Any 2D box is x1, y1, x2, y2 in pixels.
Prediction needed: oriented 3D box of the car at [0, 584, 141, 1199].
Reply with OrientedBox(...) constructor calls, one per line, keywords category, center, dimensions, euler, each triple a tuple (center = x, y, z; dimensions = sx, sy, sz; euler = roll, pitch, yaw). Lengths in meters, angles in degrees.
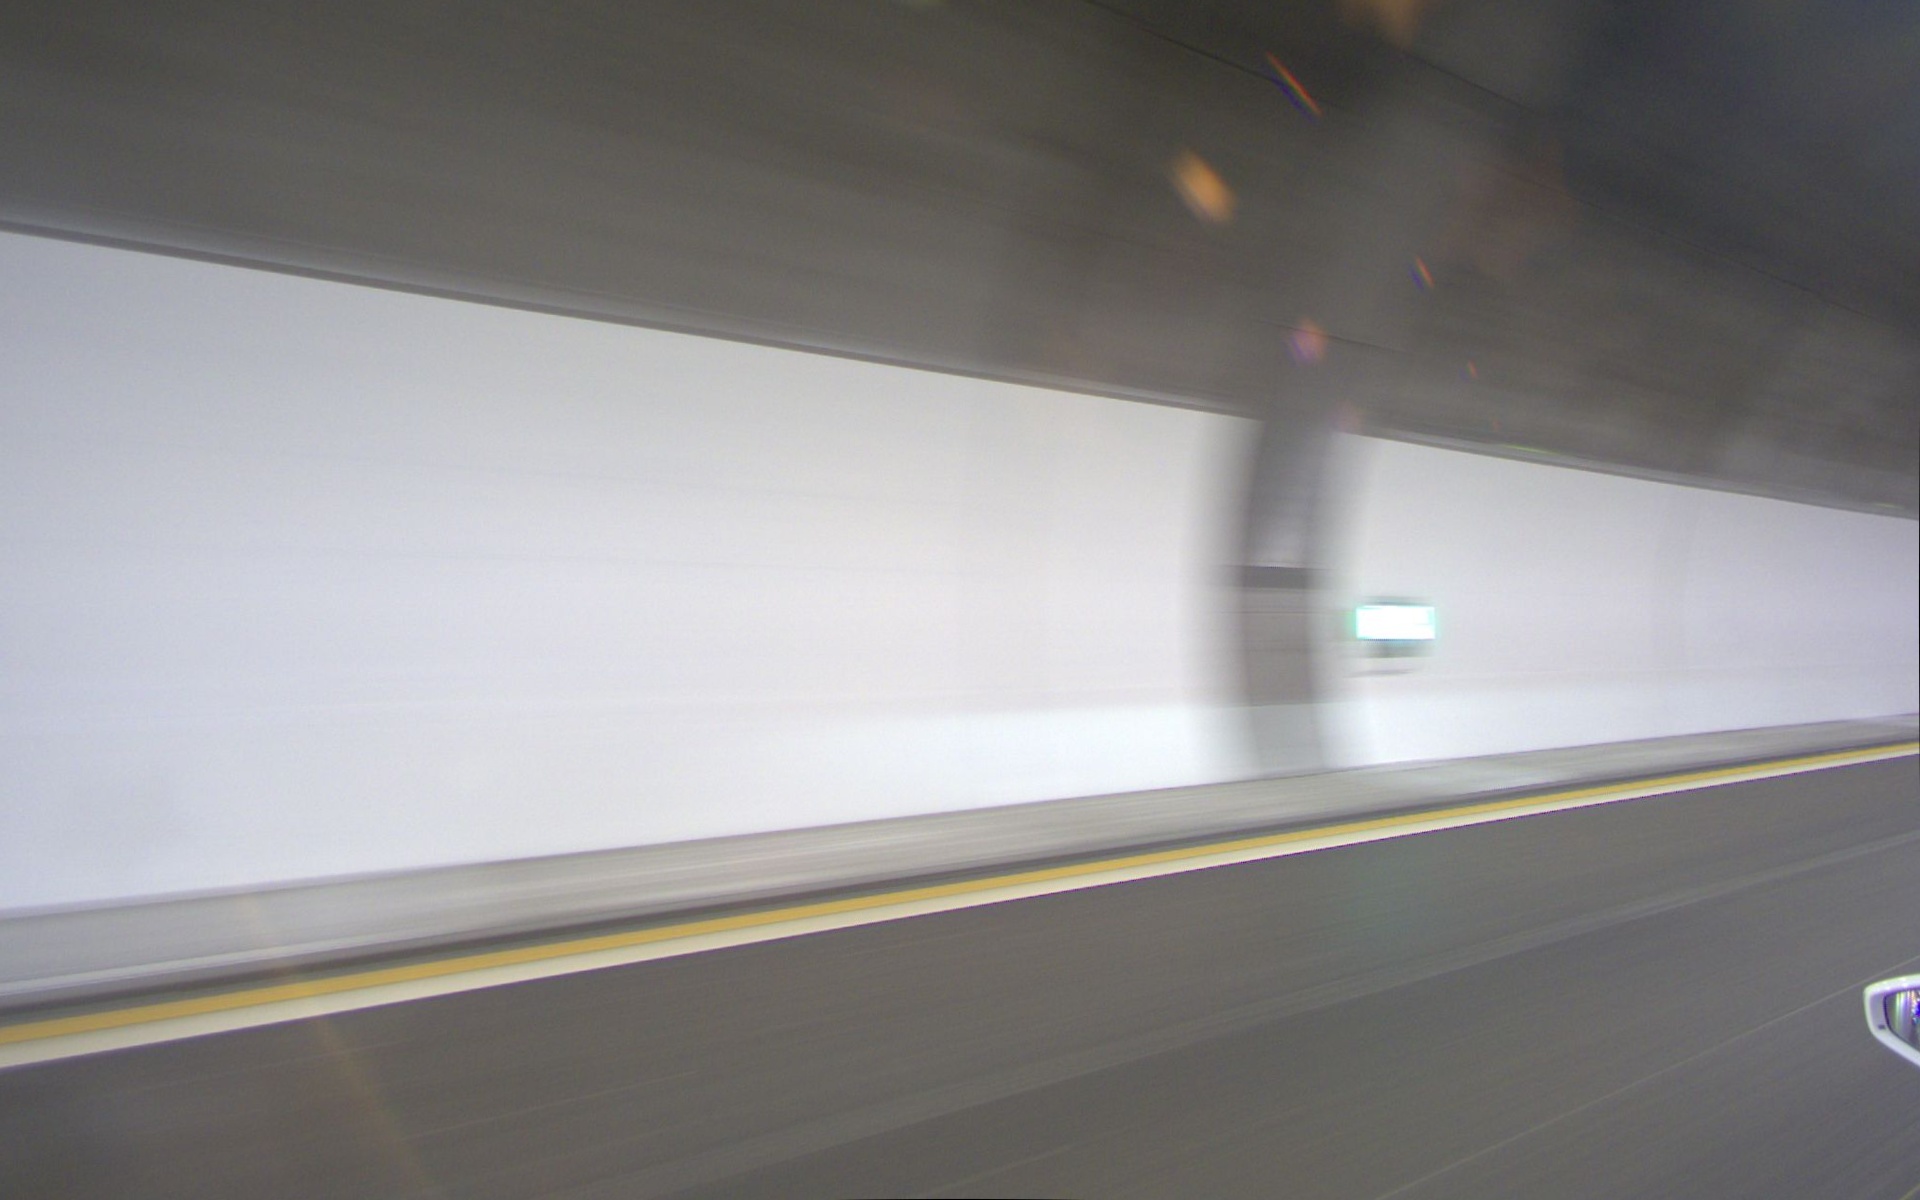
OrientedBox(category="car", center=(-3.972, 0.660, 0.870), dimensions=(4.828, 1.457, 1.768), euler=(1, 0, -32))
